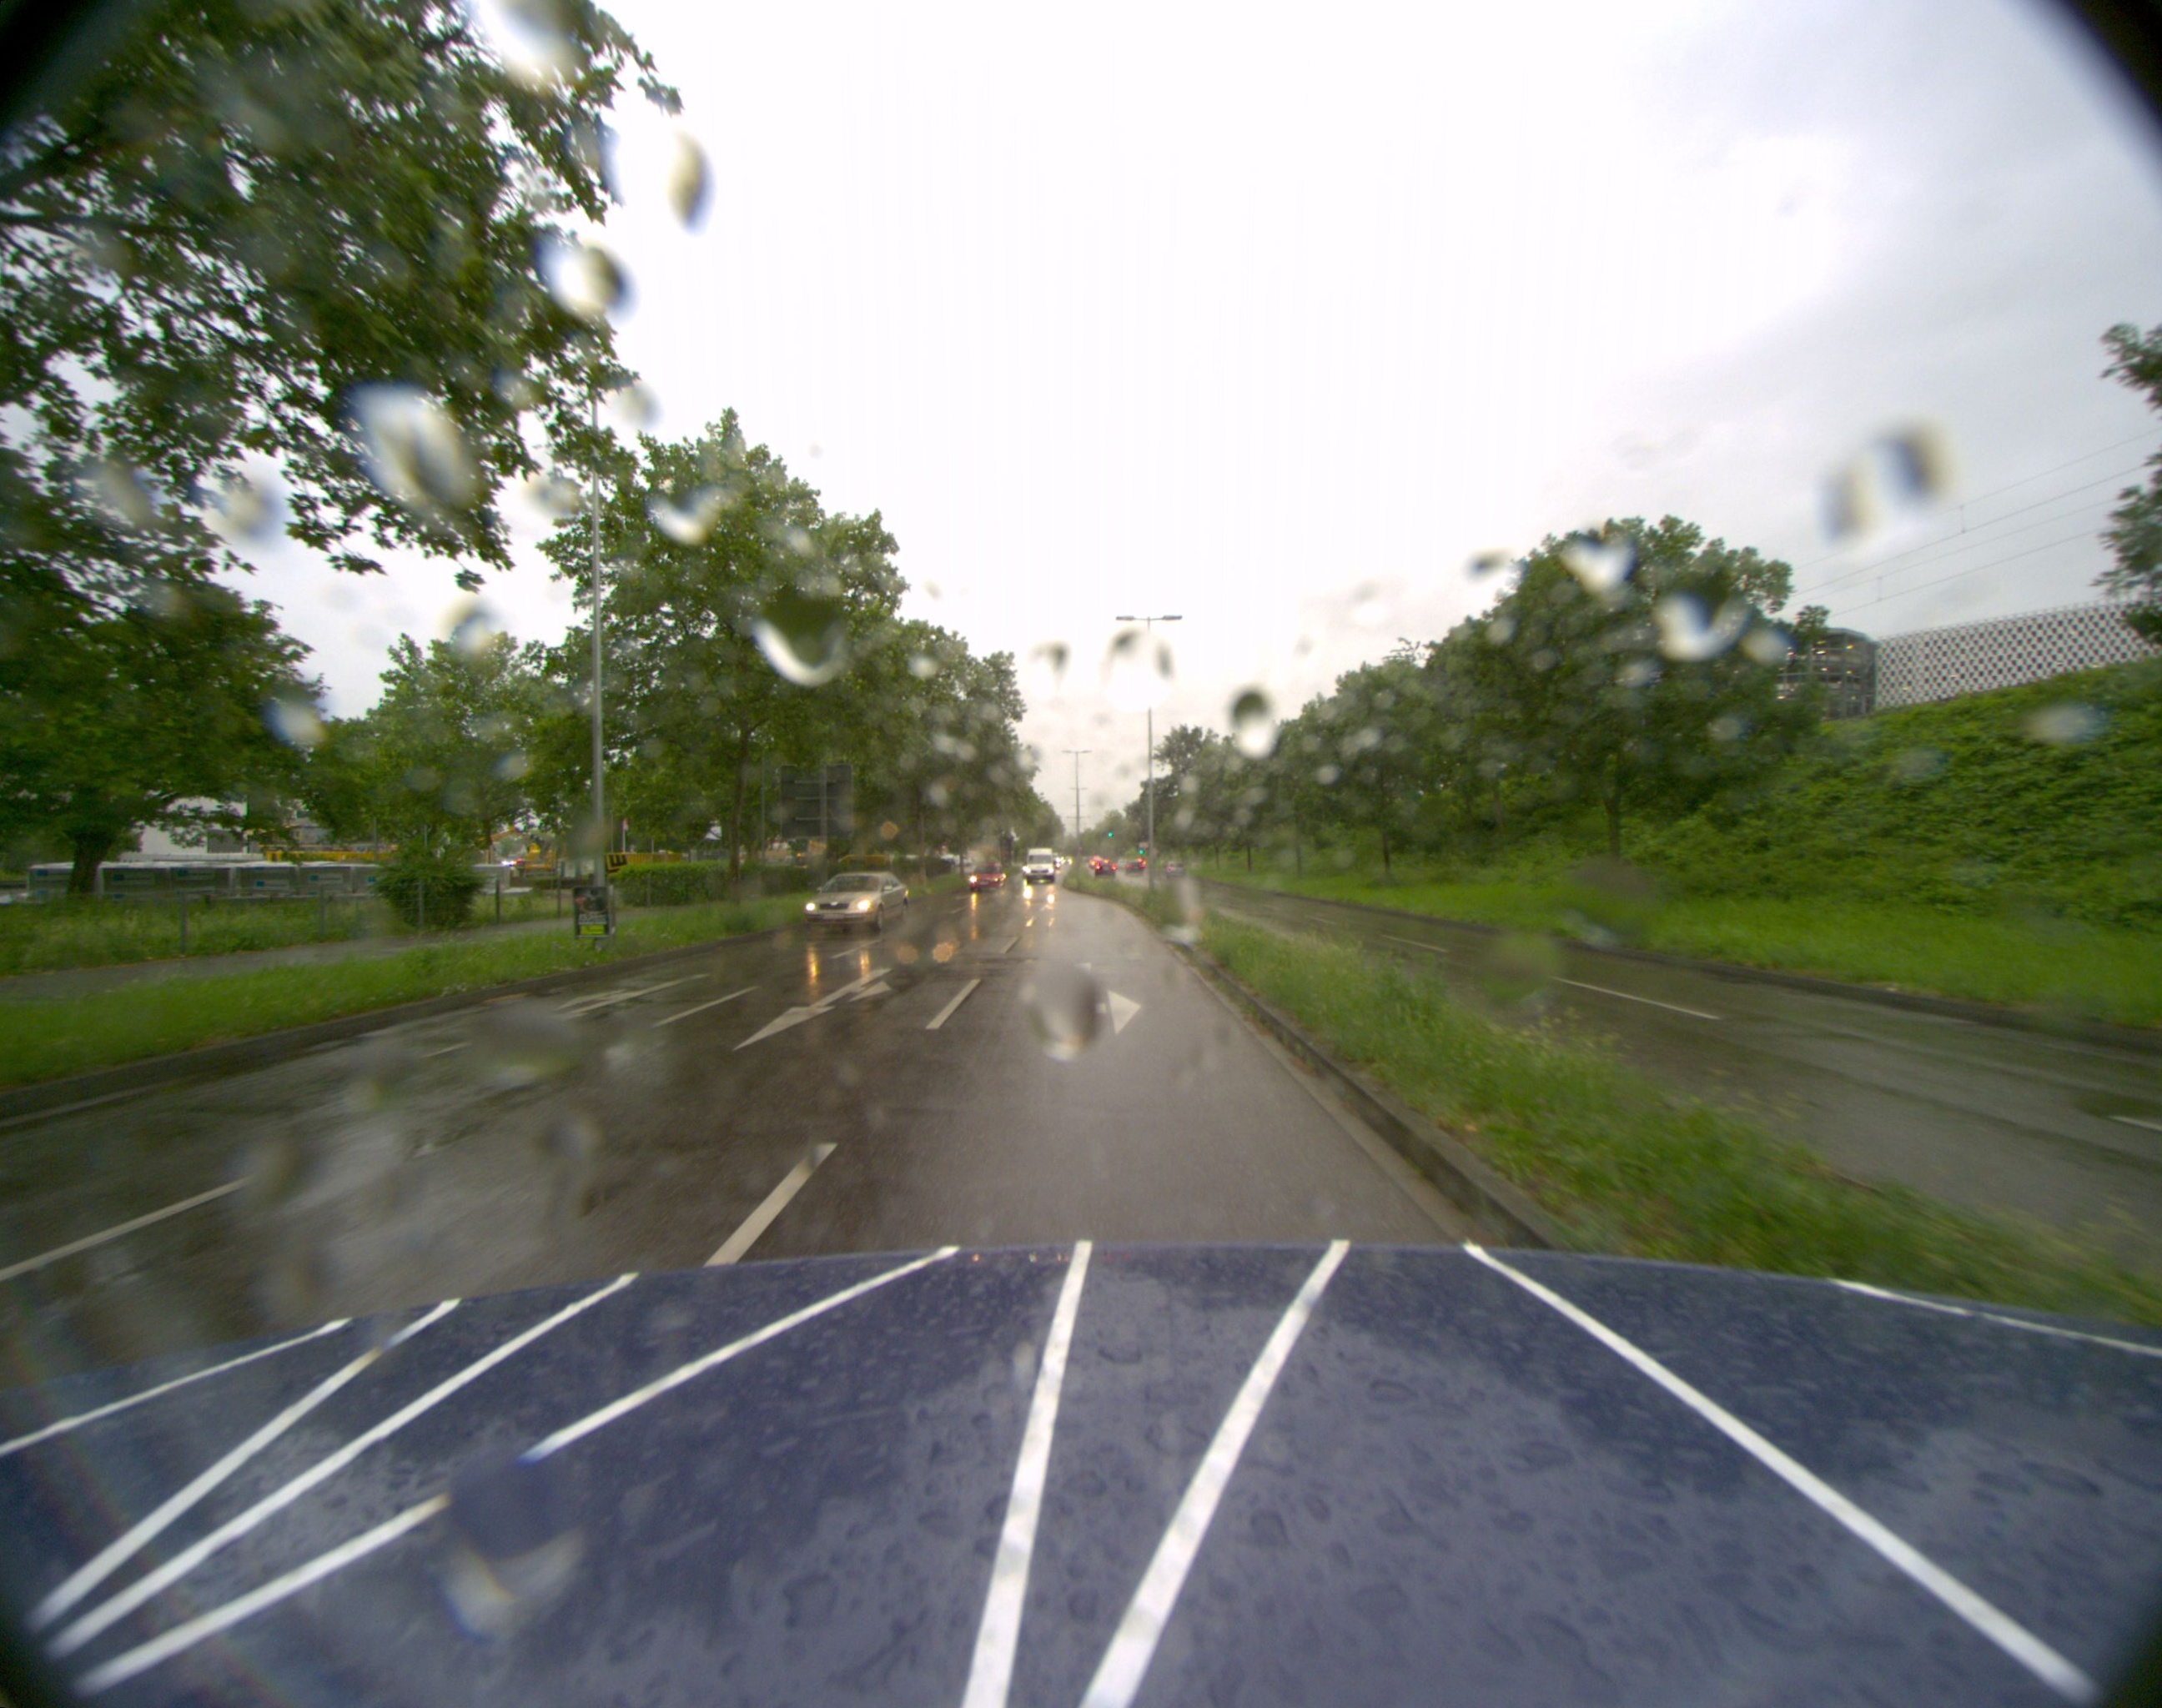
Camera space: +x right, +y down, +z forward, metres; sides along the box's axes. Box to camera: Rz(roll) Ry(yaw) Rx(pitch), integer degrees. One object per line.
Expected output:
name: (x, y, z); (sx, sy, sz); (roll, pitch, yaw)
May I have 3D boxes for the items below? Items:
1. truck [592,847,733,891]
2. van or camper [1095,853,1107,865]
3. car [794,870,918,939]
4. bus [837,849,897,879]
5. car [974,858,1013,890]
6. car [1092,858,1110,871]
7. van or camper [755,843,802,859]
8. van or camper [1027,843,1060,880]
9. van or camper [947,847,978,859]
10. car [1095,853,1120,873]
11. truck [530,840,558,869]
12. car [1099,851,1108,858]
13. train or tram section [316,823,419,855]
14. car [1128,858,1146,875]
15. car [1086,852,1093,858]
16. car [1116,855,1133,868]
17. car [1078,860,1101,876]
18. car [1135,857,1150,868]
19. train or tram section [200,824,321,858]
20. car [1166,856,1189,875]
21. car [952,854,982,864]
truck: (-33.297, 1.052, 60.725); (9.517, 3.015, 3.073); (-2, 2, -36)
van or camper: (3.205, 0.794, 122.777); (1.733, 1.732, 3.999); (2, 0, -1)
car: (-5.601, 1.202, 19.497); (1.807, 1.422, 4.386); (-1, 0, 1)
bus: (-19.593, 0.908, 69.698); (4.804, 2.632, 2.000); (-1, 1, 1)
car: (-5.192, 1.175, 45.580); (1.699, 1.759, 4.558); (-1, 0, 1)
car: (2.686, 1.381, 102.790); (1.914, 1.565, 4.707); (1, 0, -3)
van or camper: (-66.002, -0.661, 165.852); (8.995, 3.140, 2.979); (-2, 2, -35)
van or camper: (-2.803, 0.554, 57.201); (2.100, 2.579, 4.775); (-2, 0, 1)
van or camper: (-19.977, -0.169, 128.619); (4.918, 2.076, 1.863); (0, 1, -38)
car: (2.331, 0.810, 67.819); (1.829, 1.566, 4.358); (3, 1, -2)
truck: (-63.892, 0.008, 90.395); (2.501, 3.326, 9.444); (-3, 2, -35)
car: (5.549, 0.159, 188.390); (1.998, 1.678, 4.709); (2, 0, 1)
train or tram section: (-82.279, -1.778, 87.854); (8.386, 3.500, 2.394); (-3, 2, -38)
car: (5.688, 1.237, 77.179); (1.724, 1.608, 4.347); (0, 1, 6)
car: (2.455, 0.312, 226.787); (1.998, 1.678, 4.709); (2, 0, 1)
car: (5.692, 0.933, 98.939); (1.913, 1.565, 4.709); (2, 0, 1)
car: (0.874, 1.448, 80.451); (1.914, 1.565, 4.706); (1, 0, -6)
car: (8.843, 1.160, 109.455); (1.840, 1.493, 4.439); (1, 0, 1)
train or tram section: (-88.911, -1.462, 82.620); (8.546, 3.500, 2.394); (-3, 2, -38)
car: (8.784, 1.015, 69.323); (1.700, 1.608, 3.847); (-1, 0, 1)
car: (-18.824, 0.845, 125.651); (4.470, 1.663, 1.863); (0, 1, -38)
